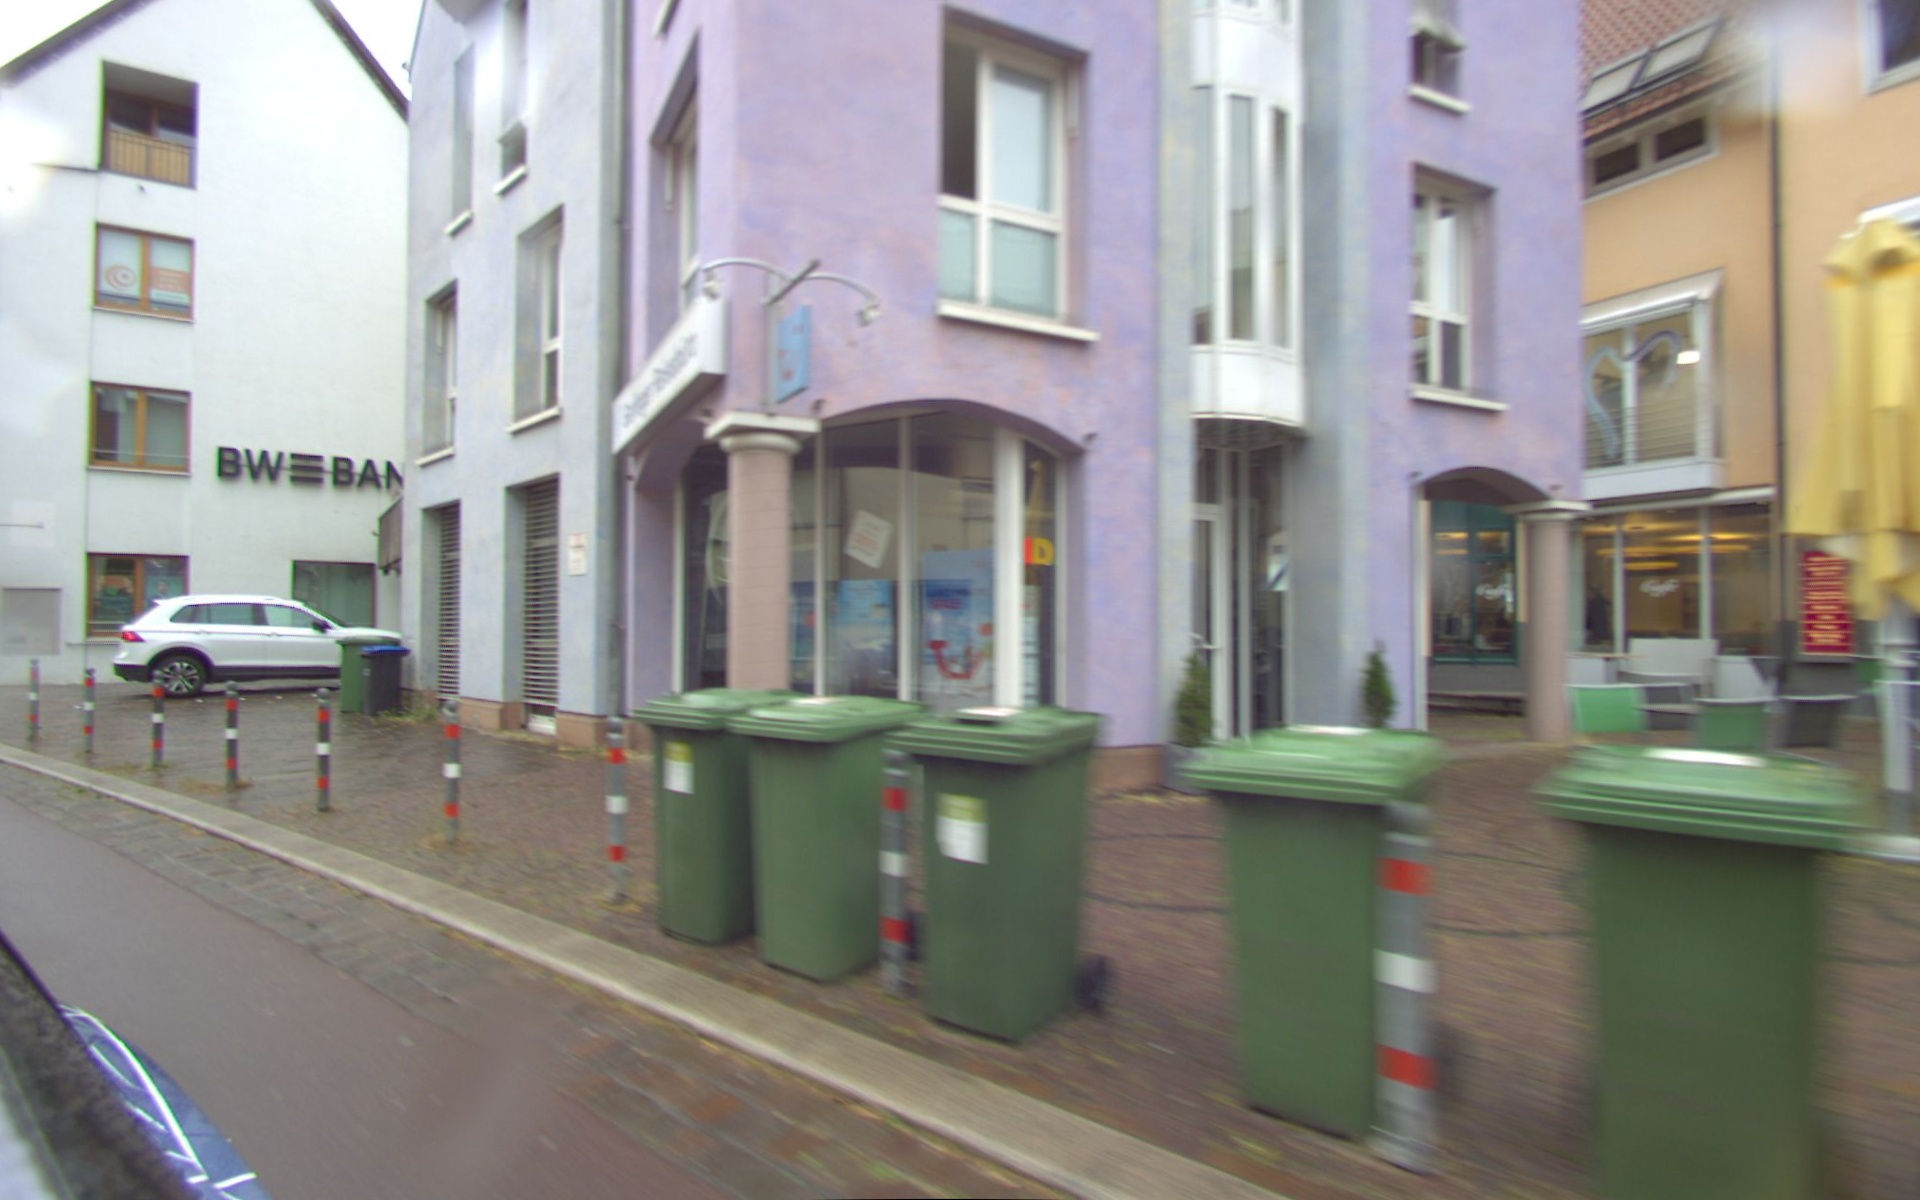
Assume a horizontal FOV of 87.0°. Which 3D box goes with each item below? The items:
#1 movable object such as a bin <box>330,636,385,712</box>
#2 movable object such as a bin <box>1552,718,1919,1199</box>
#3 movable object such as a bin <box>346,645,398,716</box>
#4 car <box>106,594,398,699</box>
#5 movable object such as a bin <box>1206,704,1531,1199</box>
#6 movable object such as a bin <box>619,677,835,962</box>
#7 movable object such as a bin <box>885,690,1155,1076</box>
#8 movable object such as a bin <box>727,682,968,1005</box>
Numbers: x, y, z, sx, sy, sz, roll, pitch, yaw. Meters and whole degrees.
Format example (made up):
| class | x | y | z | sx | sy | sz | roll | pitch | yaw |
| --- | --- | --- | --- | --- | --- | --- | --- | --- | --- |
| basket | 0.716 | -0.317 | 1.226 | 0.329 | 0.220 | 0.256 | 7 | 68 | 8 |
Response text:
| class | x | y | z | sx | sy | sz | roll | pitch | yaw |
| --- | --- | --- | --- | --- | --- | --- | --- | --- | --- |
| movable object such as a bin | -8.350 | 1.011 | 14.029 | 0.572 | 0.996 | 0.482 | 1 | 0 | 39 |
| movable object such as a bin | 1.794 | 0.875 | 2.308 | 0.668 | 1.114 | 0.680 | -1 | -1 | 38 |
| movable object such as a bin | -7.904 | 1.076 | 13.602 | 0.449 | 0.902 | 0.455 | 1 | 0 | 36 |
| car | -12.079 | 0.741 | 17.490 | 3.933 | 1.595 | 1.837 | 1 | 0 | -36 |
| movable object such as a bin | 1.146 | 0.887 | 2.822 | 0.668 | 1.114 | 0.680 | -1 | -1 | 38 |
| movable object such as a bin | -1.041 | 0.919 | 4.550 | 0.676 | 1.086 | 0.680 | -1 | -1 | 38 |
| movable object such as a bin | 0.214 | 0.891 | 3.523 | 0.668 | 1.089 | 0.680 | -1 | -1 | 38 |
| movable object such as a bin | -0.455 | 0.912 | 4.127 | 0.711 | 1.095 | 0.680 | -1 | -1 | 38 |
